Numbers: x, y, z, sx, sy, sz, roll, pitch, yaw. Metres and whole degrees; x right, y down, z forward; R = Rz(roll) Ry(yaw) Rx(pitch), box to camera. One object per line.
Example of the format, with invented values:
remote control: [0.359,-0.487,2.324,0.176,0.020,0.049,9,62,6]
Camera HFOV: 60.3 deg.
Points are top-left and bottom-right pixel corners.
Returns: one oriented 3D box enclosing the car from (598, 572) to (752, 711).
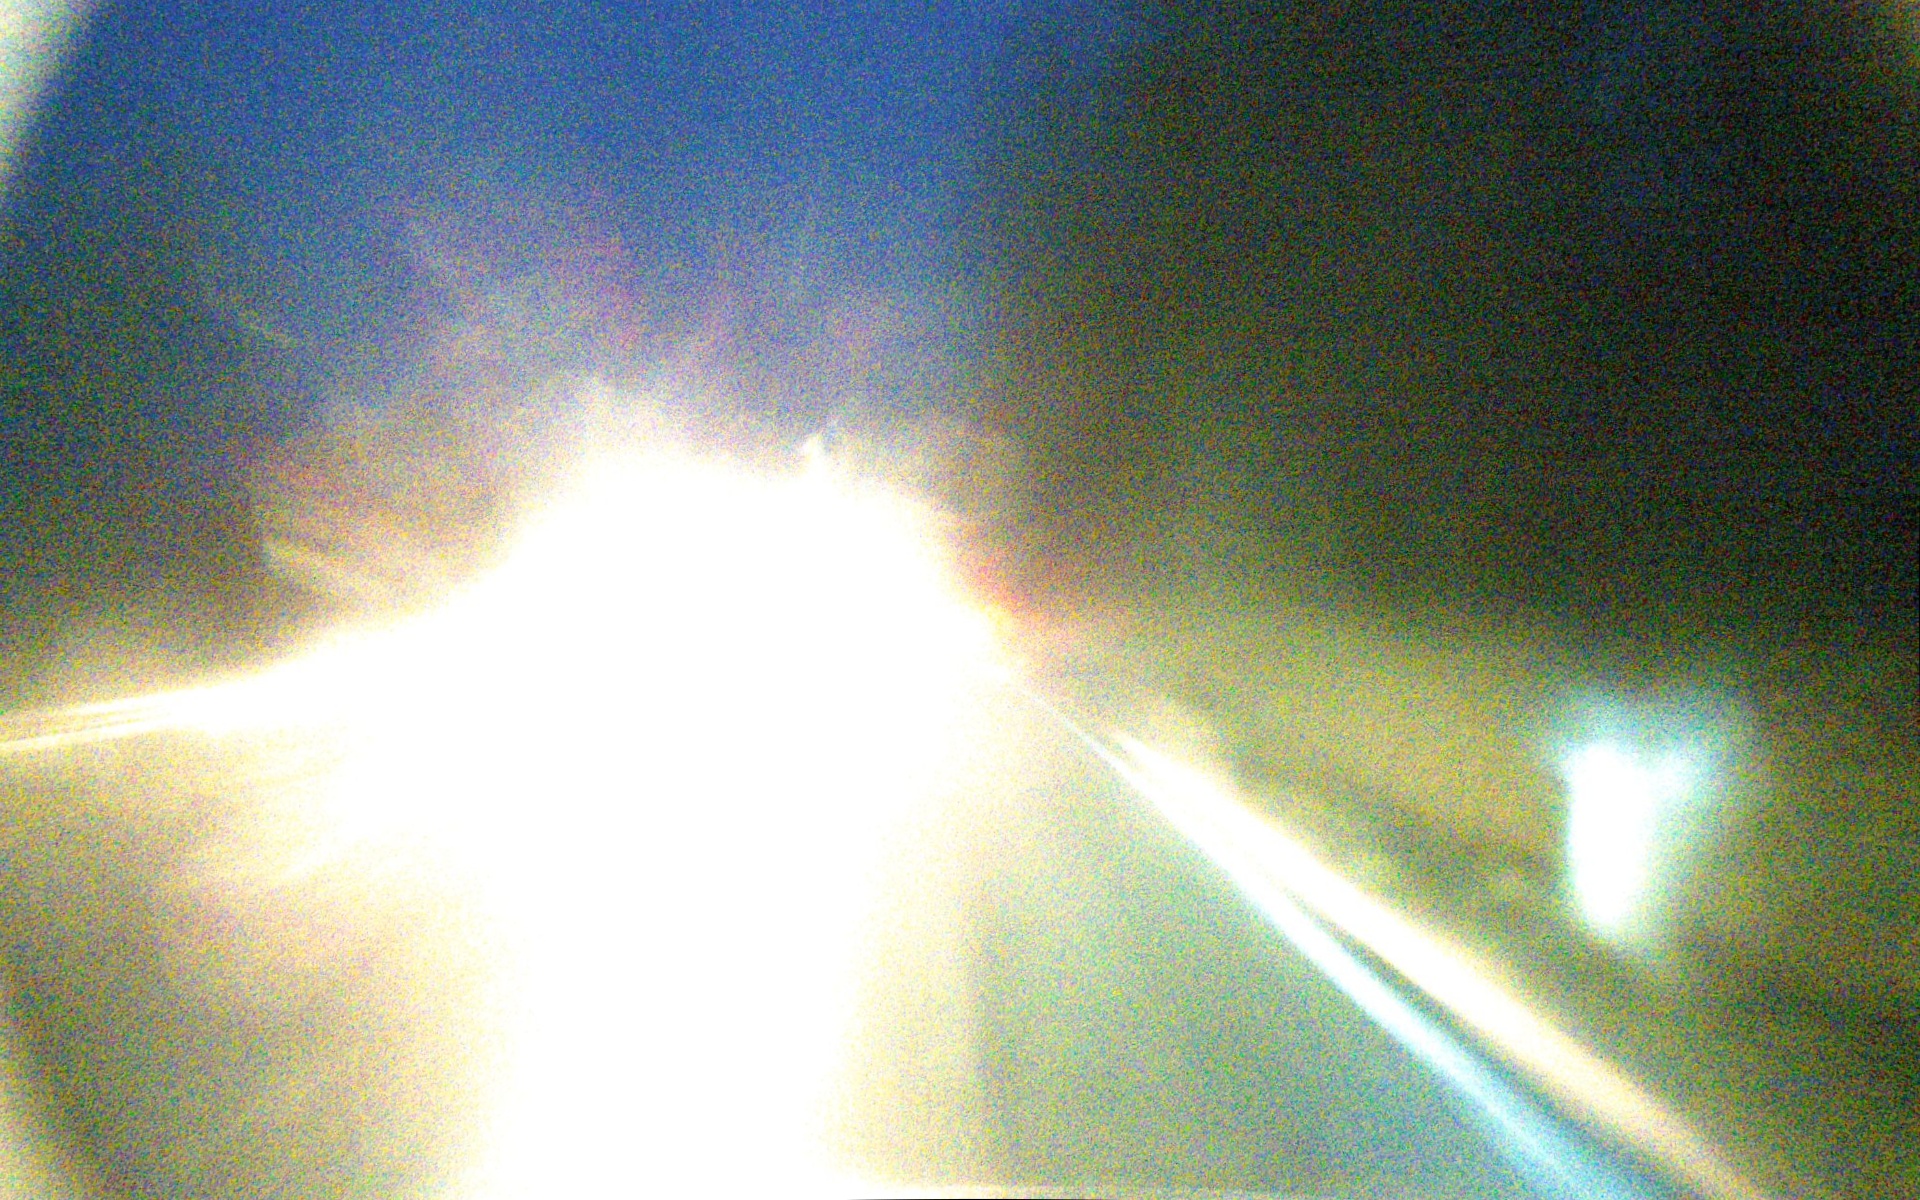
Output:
car: [-4.578,0.622,27.188,1.954,2.049,4.453,-1,0,-3]

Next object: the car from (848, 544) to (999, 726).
car: [-0.629,0.475,26.826,2.137,2.601,4.506,3,1,-2]
